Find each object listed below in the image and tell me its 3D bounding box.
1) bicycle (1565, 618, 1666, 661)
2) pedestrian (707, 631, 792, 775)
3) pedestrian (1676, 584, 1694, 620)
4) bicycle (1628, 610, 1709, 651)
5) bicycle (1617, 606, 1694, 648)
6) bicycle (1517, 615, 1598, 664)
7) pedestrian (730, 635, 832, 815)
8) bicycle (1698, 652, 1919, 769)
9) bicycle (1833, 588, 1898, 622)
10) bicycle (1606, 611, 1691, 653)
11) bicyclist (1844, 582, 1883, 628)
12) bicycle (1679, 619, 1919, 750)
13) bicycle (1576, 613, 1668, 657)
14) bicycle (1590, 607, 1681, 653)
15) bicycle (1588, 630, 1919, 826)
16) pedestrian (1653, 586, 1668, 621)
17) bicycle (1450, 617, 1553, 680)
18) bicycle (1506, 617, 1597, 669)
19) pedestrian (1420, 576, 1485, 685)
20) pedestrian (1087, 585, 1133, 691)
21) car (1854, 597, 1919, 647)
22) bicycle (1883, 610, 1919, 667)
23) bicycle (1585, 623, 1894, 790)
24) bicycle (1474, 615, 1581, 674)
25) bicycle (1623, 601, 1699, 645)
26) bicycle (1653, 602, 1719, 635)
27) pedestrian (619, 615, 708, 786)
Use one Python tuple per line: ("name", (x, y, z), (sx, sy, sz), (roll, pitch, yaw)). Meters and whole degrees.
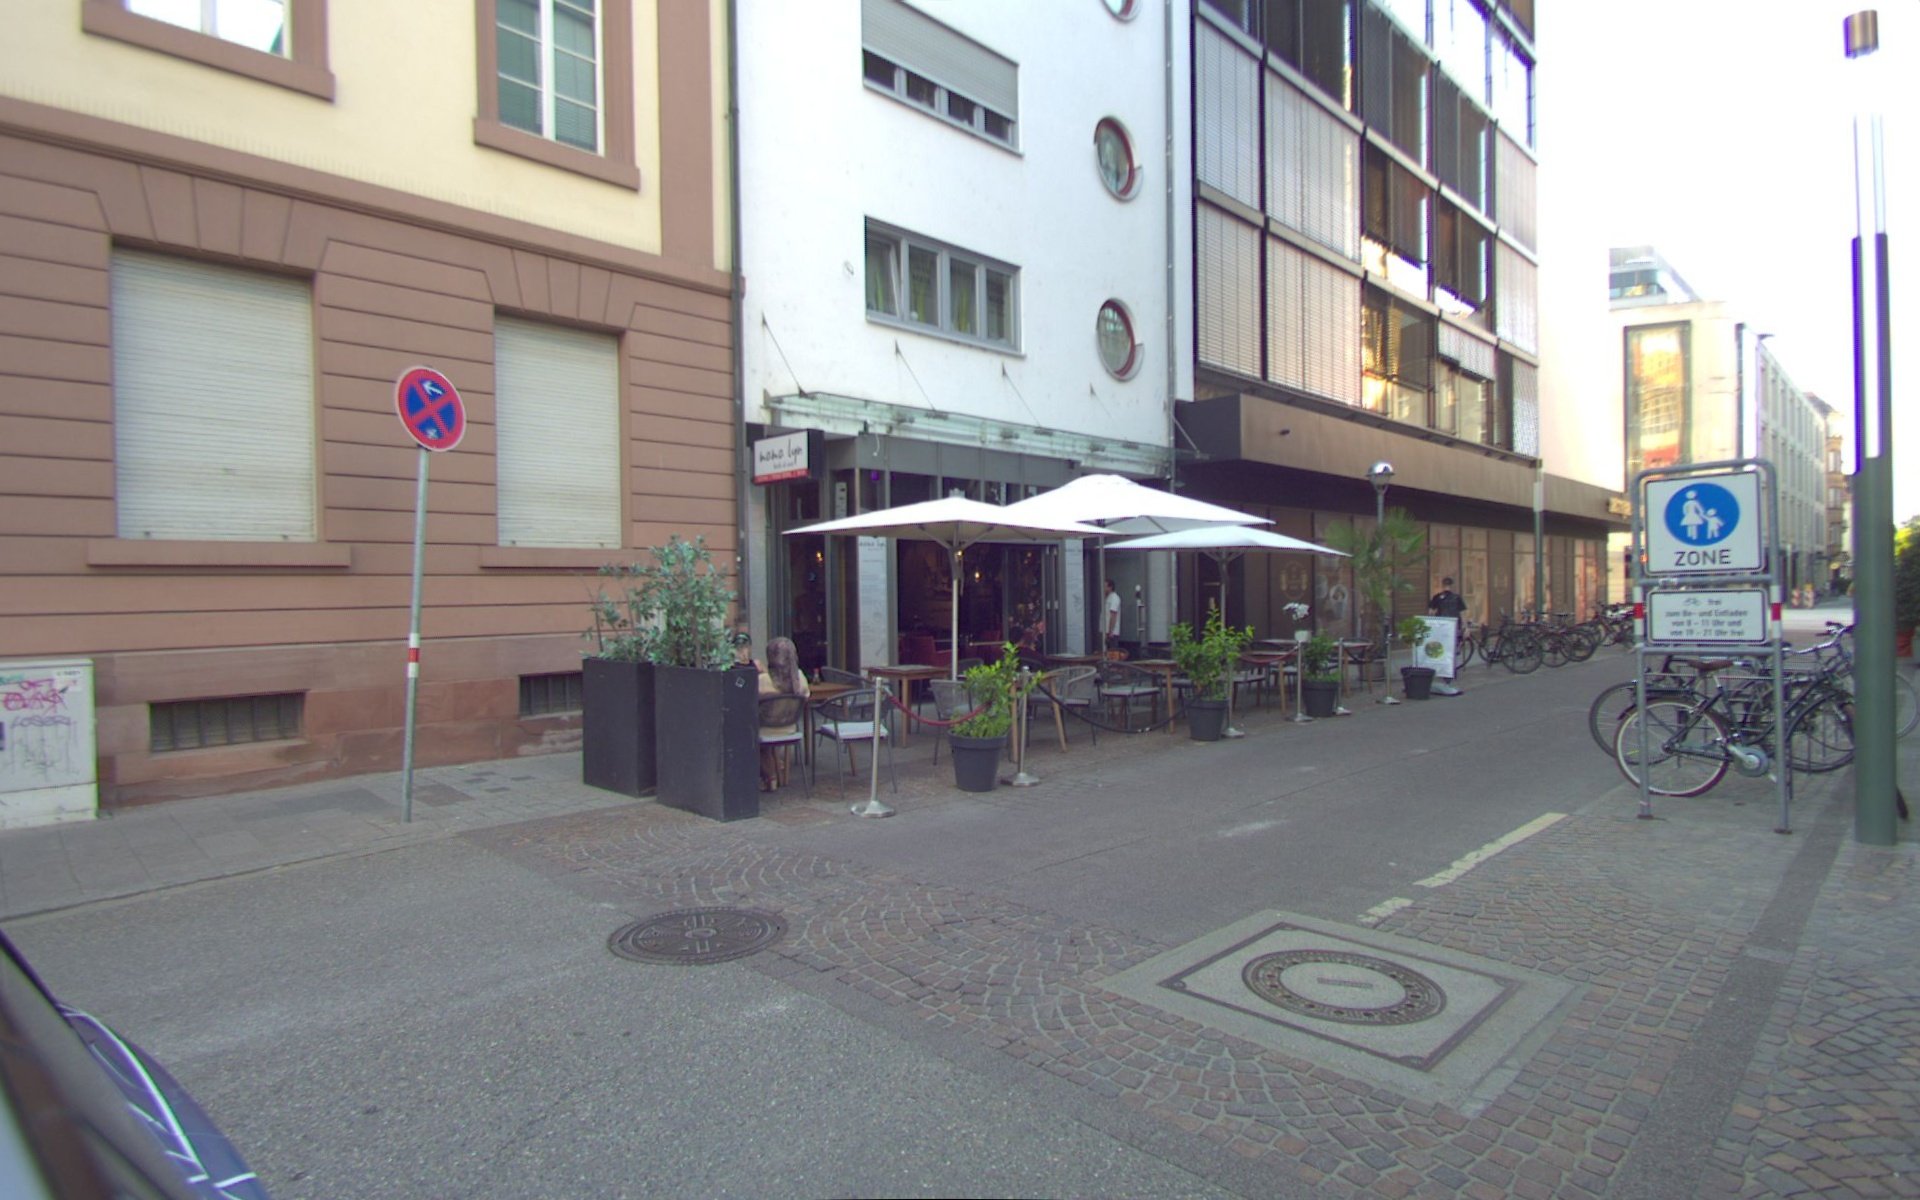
("bicycle", (15.454, 0.912, 23.895), (1.946, 0.964, 0.459), (-1, -1, 44))
("pedestrian", (-1.889, 0.895, 9.073), (0.541, 1.220, 0.525), (-1, -1, -43))
("pedestrian", (31.758, 0.080, 44.332), (0.470, 1.584, 0.380), (-1, 0, -6))
("bicycle", (19.145, 0.821, 27.373), (1.734, 1.059, 0.459), (-1, -1, 44))
("bicycle", (19.651, 0.763, 28.627), (1.734, 1.154, 0.459), (-1, -1, 44))
("bicycle", (13.054, 0.854, 22.129), (1.456, 1.013, 0.459), (-1, -1, 44))
("pedestrian", (-1.307, 0.877, 7.375), (0.553, 1.221, 0.461), (-1, -1, -43))
("bicycle", (7.358, 0.901, 8.506), (1.794, 0.902, 0.447), (-3, -2, 44))
("bicycle", (29.262, 0.168, 32.707), (1.764, 1.022, 0.585), (-2, -1, -10))
("bicycle", (18.164, 0.840, 26.723), (1.778, 1.059, 0.459), (-1, -1, 44))
("bicyclist", (29.192, 0.172, 32.705), (0.724, 1.459, 0.576), (-2, -1, -10))
("bicycle", (8.158, 0.781, 9.756), (1.912, 1.153, 0.549), (-3, -1, 44))
("bicycle", (16.218, 0.847, 24.824), (1.796, 1.016, 0.523), (-1, -1, 44))
("bicycle", (17.233, 0.761, 25.852), (1.849, 1.144, 0.459), (-1, -1, 44))
("bicycle", (5.250, 0.790, 6.735), (1.674, 1.122, 0.699), (-3, -2, 44))
("pedestrian", (30.866, 0.151, 44.617), (0.476, 1.564, 0.430), (-1, -1, 29))
("bicycle", (9.780, 0.859, 18.322), (1.543, 1.093, 0.541), (-1, -1, 44))
("bicycle", (12.303, 0.882, 21.082), (1.557, 1.045, 0.459), (-1, -1, 44))
("pedestrian", (8.389, 0.509, 17.278), (0.732, 1.798, 0.965), (-1, 0, 11))
("pedestrian", (2.423, 0.604, 16.348), (0.619, 1.678, 0.667), (-1, 0, 17))
("car", (25.053, 0.553, 26.777), (3.432, 1.231, 1.631), (-1, 0, -41))
("bicycle", (17.640, 0.682, 17.984), (1.794, 1.022, 0.362), (-3, -2, 44))
("bicycle", (6.109, 0.797, 8.015), (1.842, 1.159, 0.601), (-3, -2, 44))
("bicycle", (11.093, 0.850, 19.819), (1.729, 1.100, 0.541), (-1, -1, 44))
("bicycle", (20.286, 0.661, 29.313), (1.734, 1.238, 0.459), (-1, -1, 44))
("bicycle", (24.245, 0.631, 33.798), (1.734, 1.069, 0.431), (-1, -1, 44))
("pedestrian", (-2.491, 0.813, 8.501), (0.541, 1.359, 0.489), (-1, -1, -43))
